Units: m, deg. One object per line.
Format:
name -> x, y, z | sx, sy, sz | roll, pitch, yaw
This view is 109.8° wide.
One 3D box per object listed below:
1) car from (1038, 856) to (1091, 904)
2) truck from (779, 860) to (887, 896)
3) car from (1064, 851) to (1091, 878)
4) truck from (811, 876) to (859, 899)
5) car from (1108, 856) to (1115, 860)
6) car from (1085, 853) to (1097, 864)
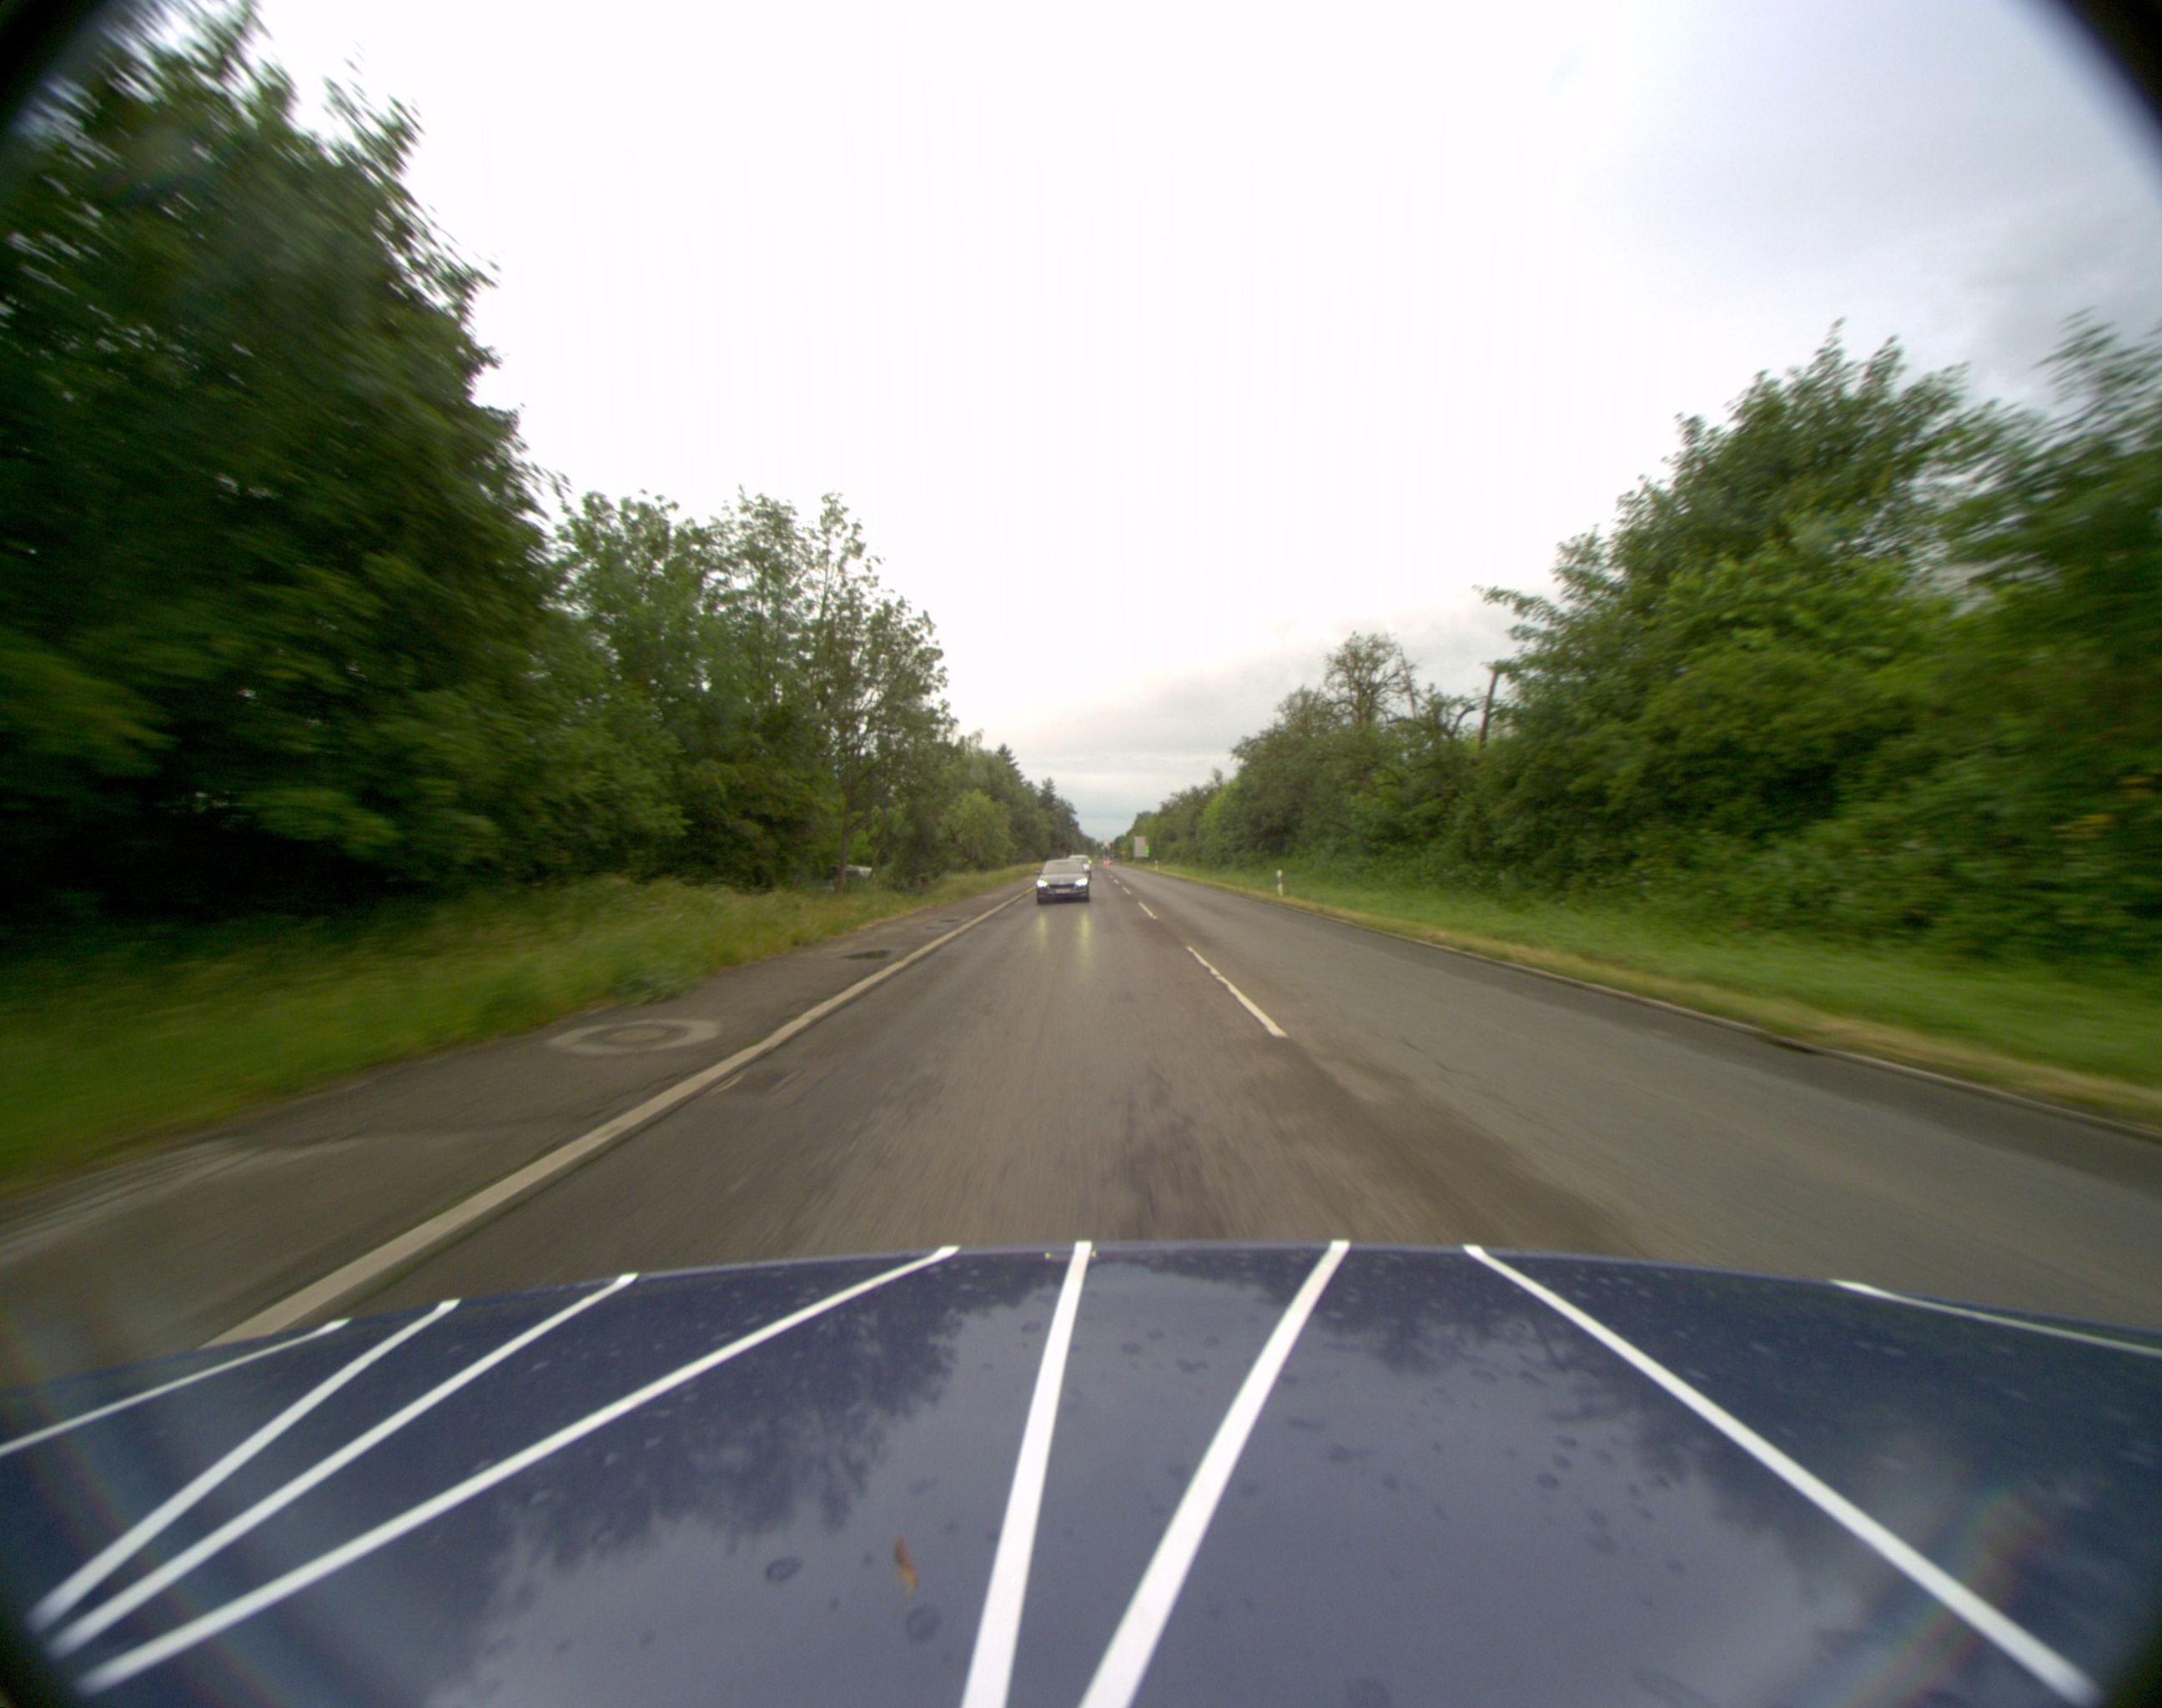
car -> -0.511, 0.869, 26.919 | 1.675, 1.477, 4.215 | -3, -1, 1
truck -> -17.657, 1.690, 54.183 | 7.056, 2.345, 2.068 | -1, 1, 10
car -> -0.253, 0.661, 50.735 | 1.704, 1.724, 3.999 | -1, 0, 0
truck -> -16.006, 2.180, 49.568 | 2.357, 1.389, 1.760 | -1, 0, 13
car -> 10.071, 1.260, 250.149 | 1.896, 1.346, 4.381 | -1, 0, 0
car -> 1.605, 0.713, 120.235 | 1.856, 1.686, 4.000 | 0, 0, 2
